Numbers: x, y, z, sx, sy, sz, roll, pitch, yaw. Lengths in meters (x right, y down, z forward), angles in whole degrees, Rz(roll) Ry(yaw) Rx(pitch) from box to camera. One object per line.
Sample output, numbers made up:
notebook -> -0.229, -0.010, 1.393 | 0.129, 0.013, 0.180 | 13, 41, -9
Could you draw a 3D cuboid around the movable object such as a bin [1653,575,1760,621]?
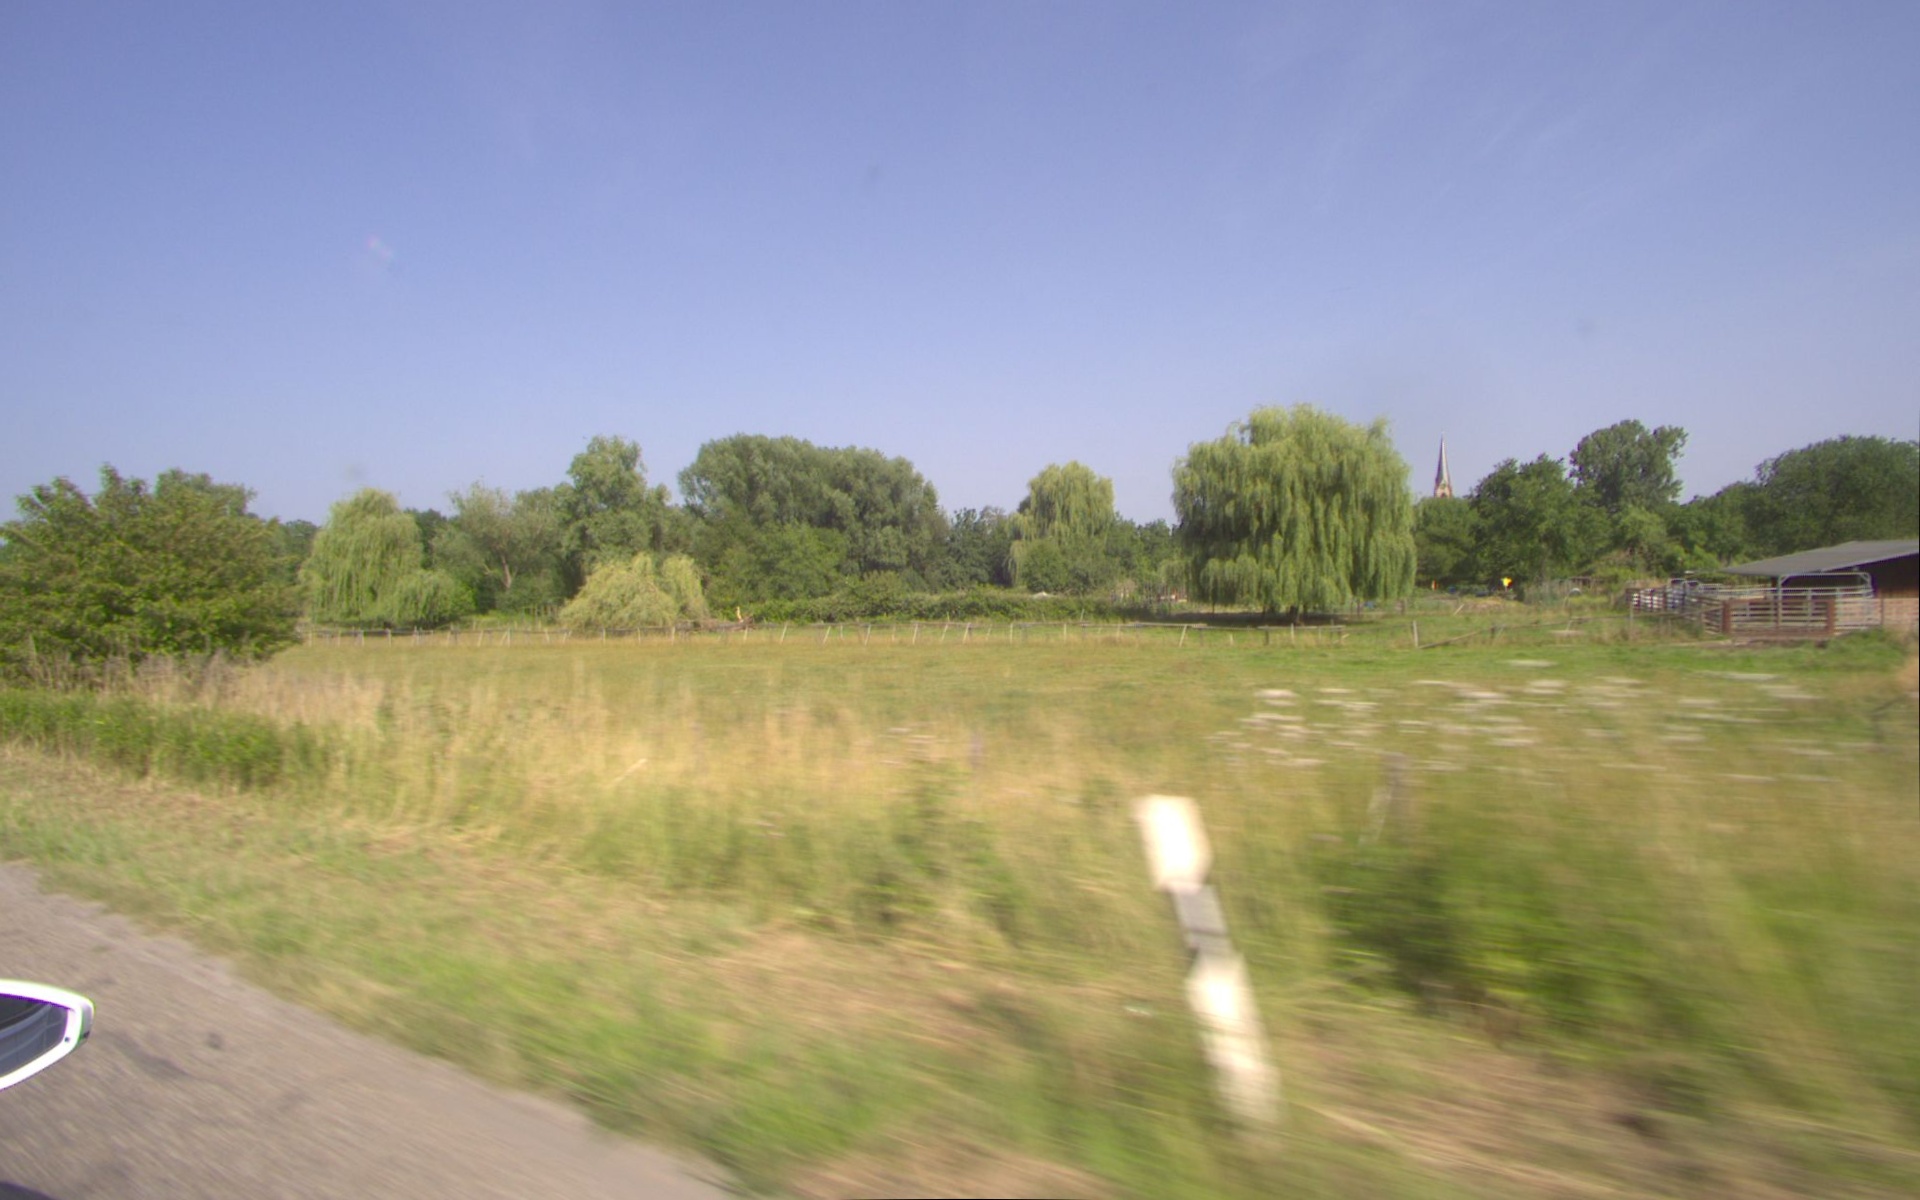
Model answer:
movable object such as a bin -> 37.723, -0.063, 50.716 | 4.102, 2.222, 1.991 | 0, -1, 30
